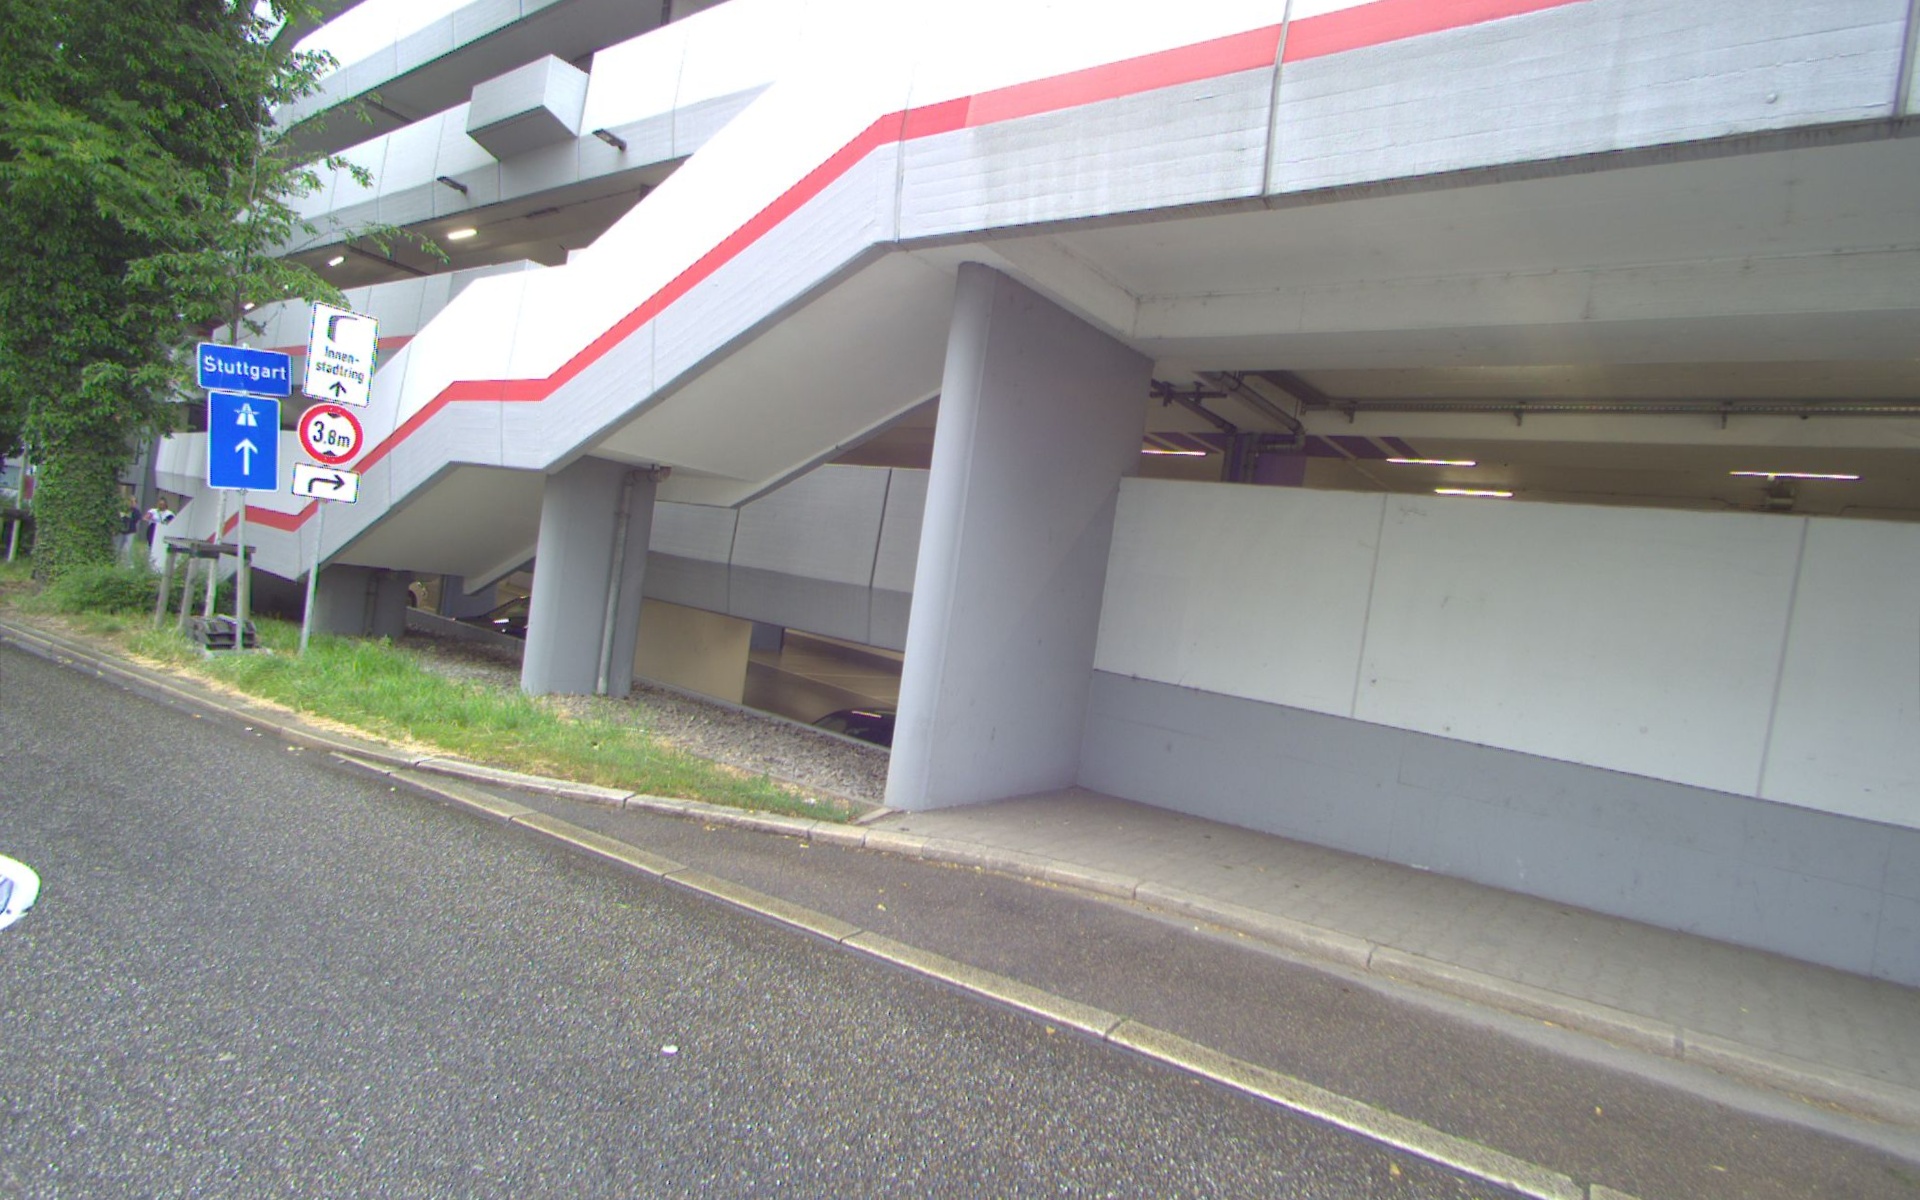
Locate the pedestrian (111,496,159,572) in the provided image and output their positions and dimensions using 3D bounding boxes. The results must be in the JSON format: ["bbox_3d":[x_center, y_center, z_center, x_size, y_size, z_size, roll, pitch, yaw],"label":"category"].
[{"bbox_3d":[-17.864,-1.425,21.790,0.481,1.550,0.551,6,-1,38],"label":"pedestrian"}]

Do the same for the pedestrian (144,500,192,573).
[{"bbox_3d":[-17.534,-1.401,22.286,0.496,1.519,0.582,6,-1,37],"label":"pedestrian"}]
